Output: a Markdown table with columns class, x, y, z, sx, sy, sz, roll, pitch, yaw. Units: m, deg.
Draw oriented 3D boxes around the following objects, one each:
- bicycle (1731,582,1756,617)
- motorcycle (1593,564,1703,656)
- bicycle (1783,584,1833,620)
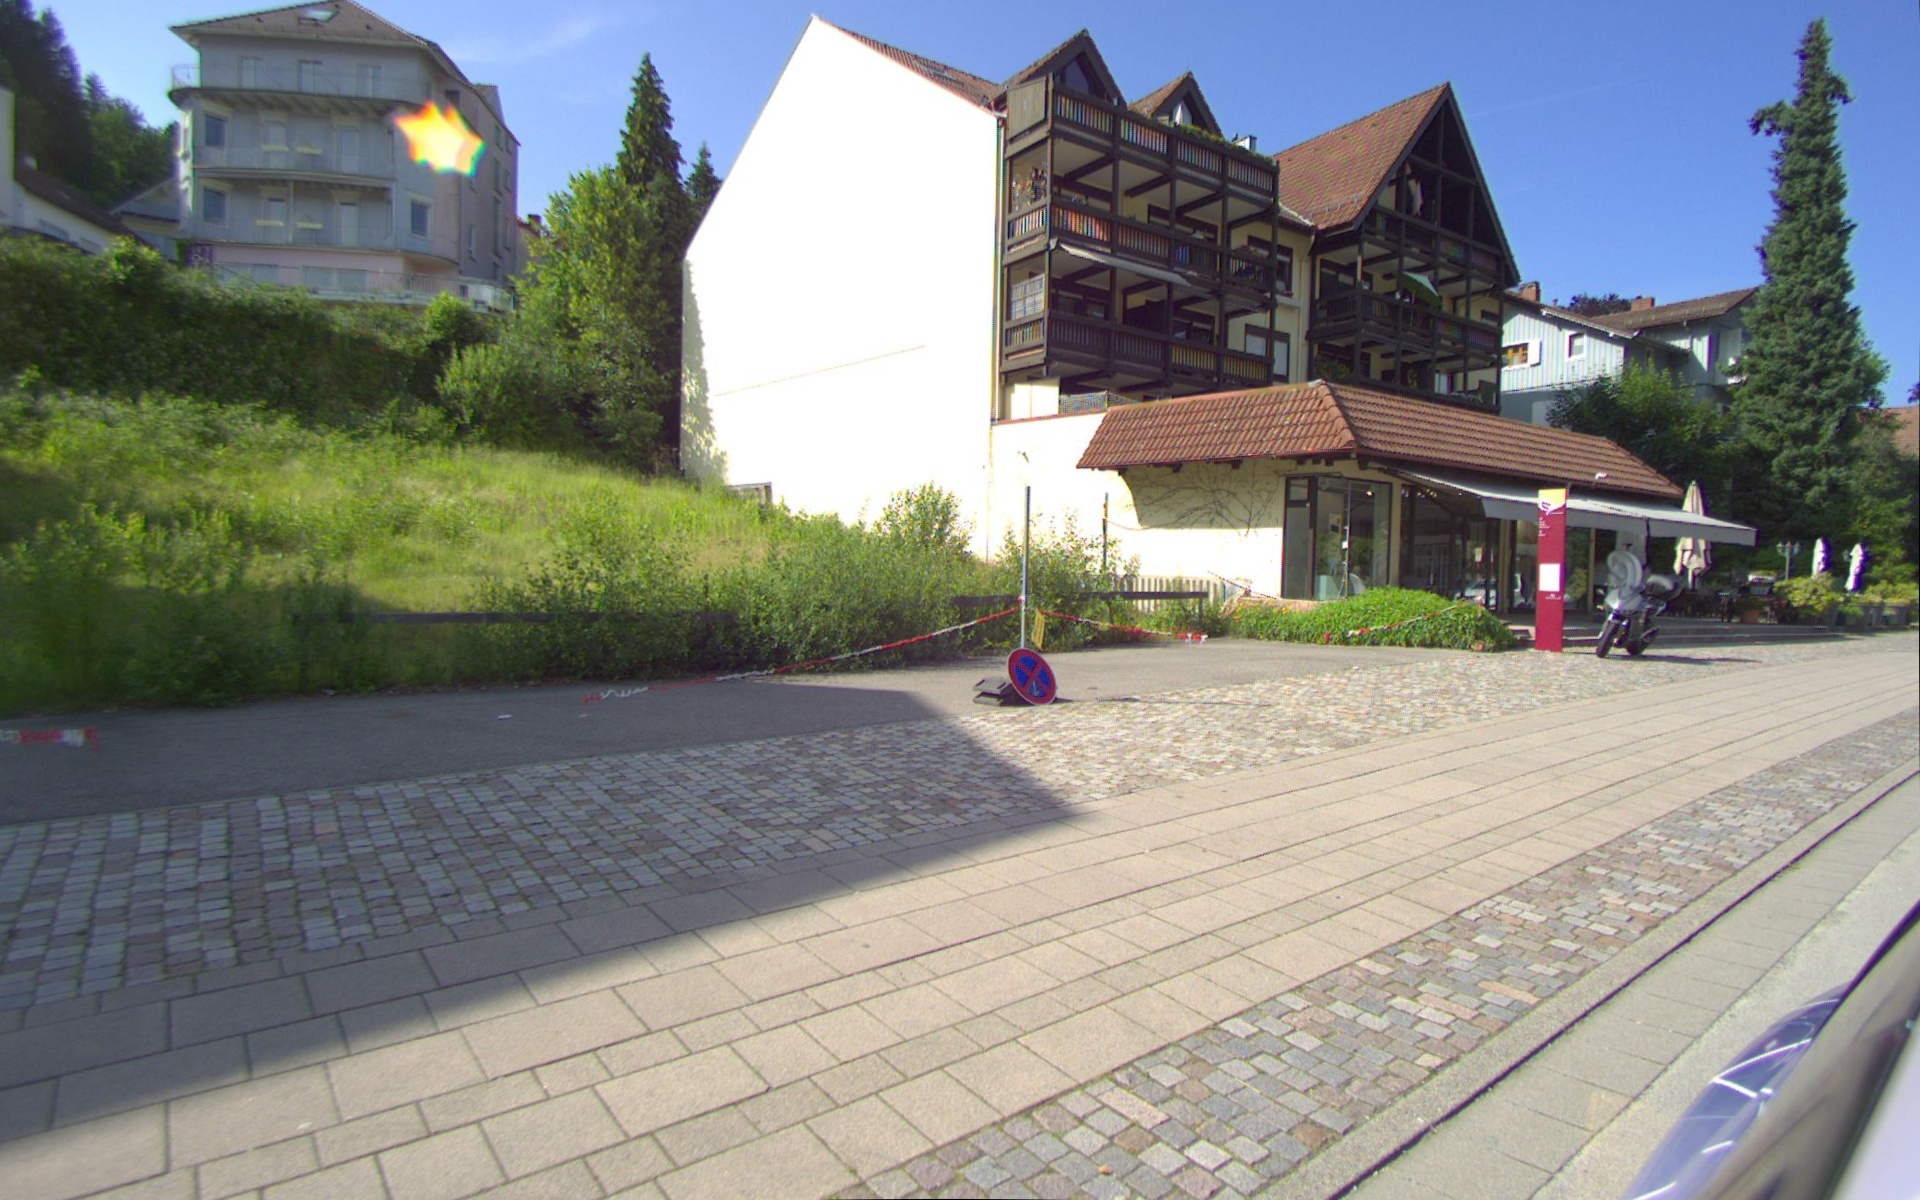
| class | x | y | z | sx | sy | sz | roll | pitch | yaw |
| --- | --- | --- | --- | --- | --- | --- | --- | --- | --- |
| bicycle | 20.648 | -0.017 | 26.685 | 0.395 | 0.852 | 1.597 | 2 | 3 | 34 |
| motorcycle | 10.684 | 0.132 | 15.681 | 2.172 | 1.311 | 0.699 | 0 | 5 | -38 |
| bicycle | 21.582 | 0.044 | 25.740 | 1.583 | 0.874 | 0.398 | 0 | 2 | -29 |
